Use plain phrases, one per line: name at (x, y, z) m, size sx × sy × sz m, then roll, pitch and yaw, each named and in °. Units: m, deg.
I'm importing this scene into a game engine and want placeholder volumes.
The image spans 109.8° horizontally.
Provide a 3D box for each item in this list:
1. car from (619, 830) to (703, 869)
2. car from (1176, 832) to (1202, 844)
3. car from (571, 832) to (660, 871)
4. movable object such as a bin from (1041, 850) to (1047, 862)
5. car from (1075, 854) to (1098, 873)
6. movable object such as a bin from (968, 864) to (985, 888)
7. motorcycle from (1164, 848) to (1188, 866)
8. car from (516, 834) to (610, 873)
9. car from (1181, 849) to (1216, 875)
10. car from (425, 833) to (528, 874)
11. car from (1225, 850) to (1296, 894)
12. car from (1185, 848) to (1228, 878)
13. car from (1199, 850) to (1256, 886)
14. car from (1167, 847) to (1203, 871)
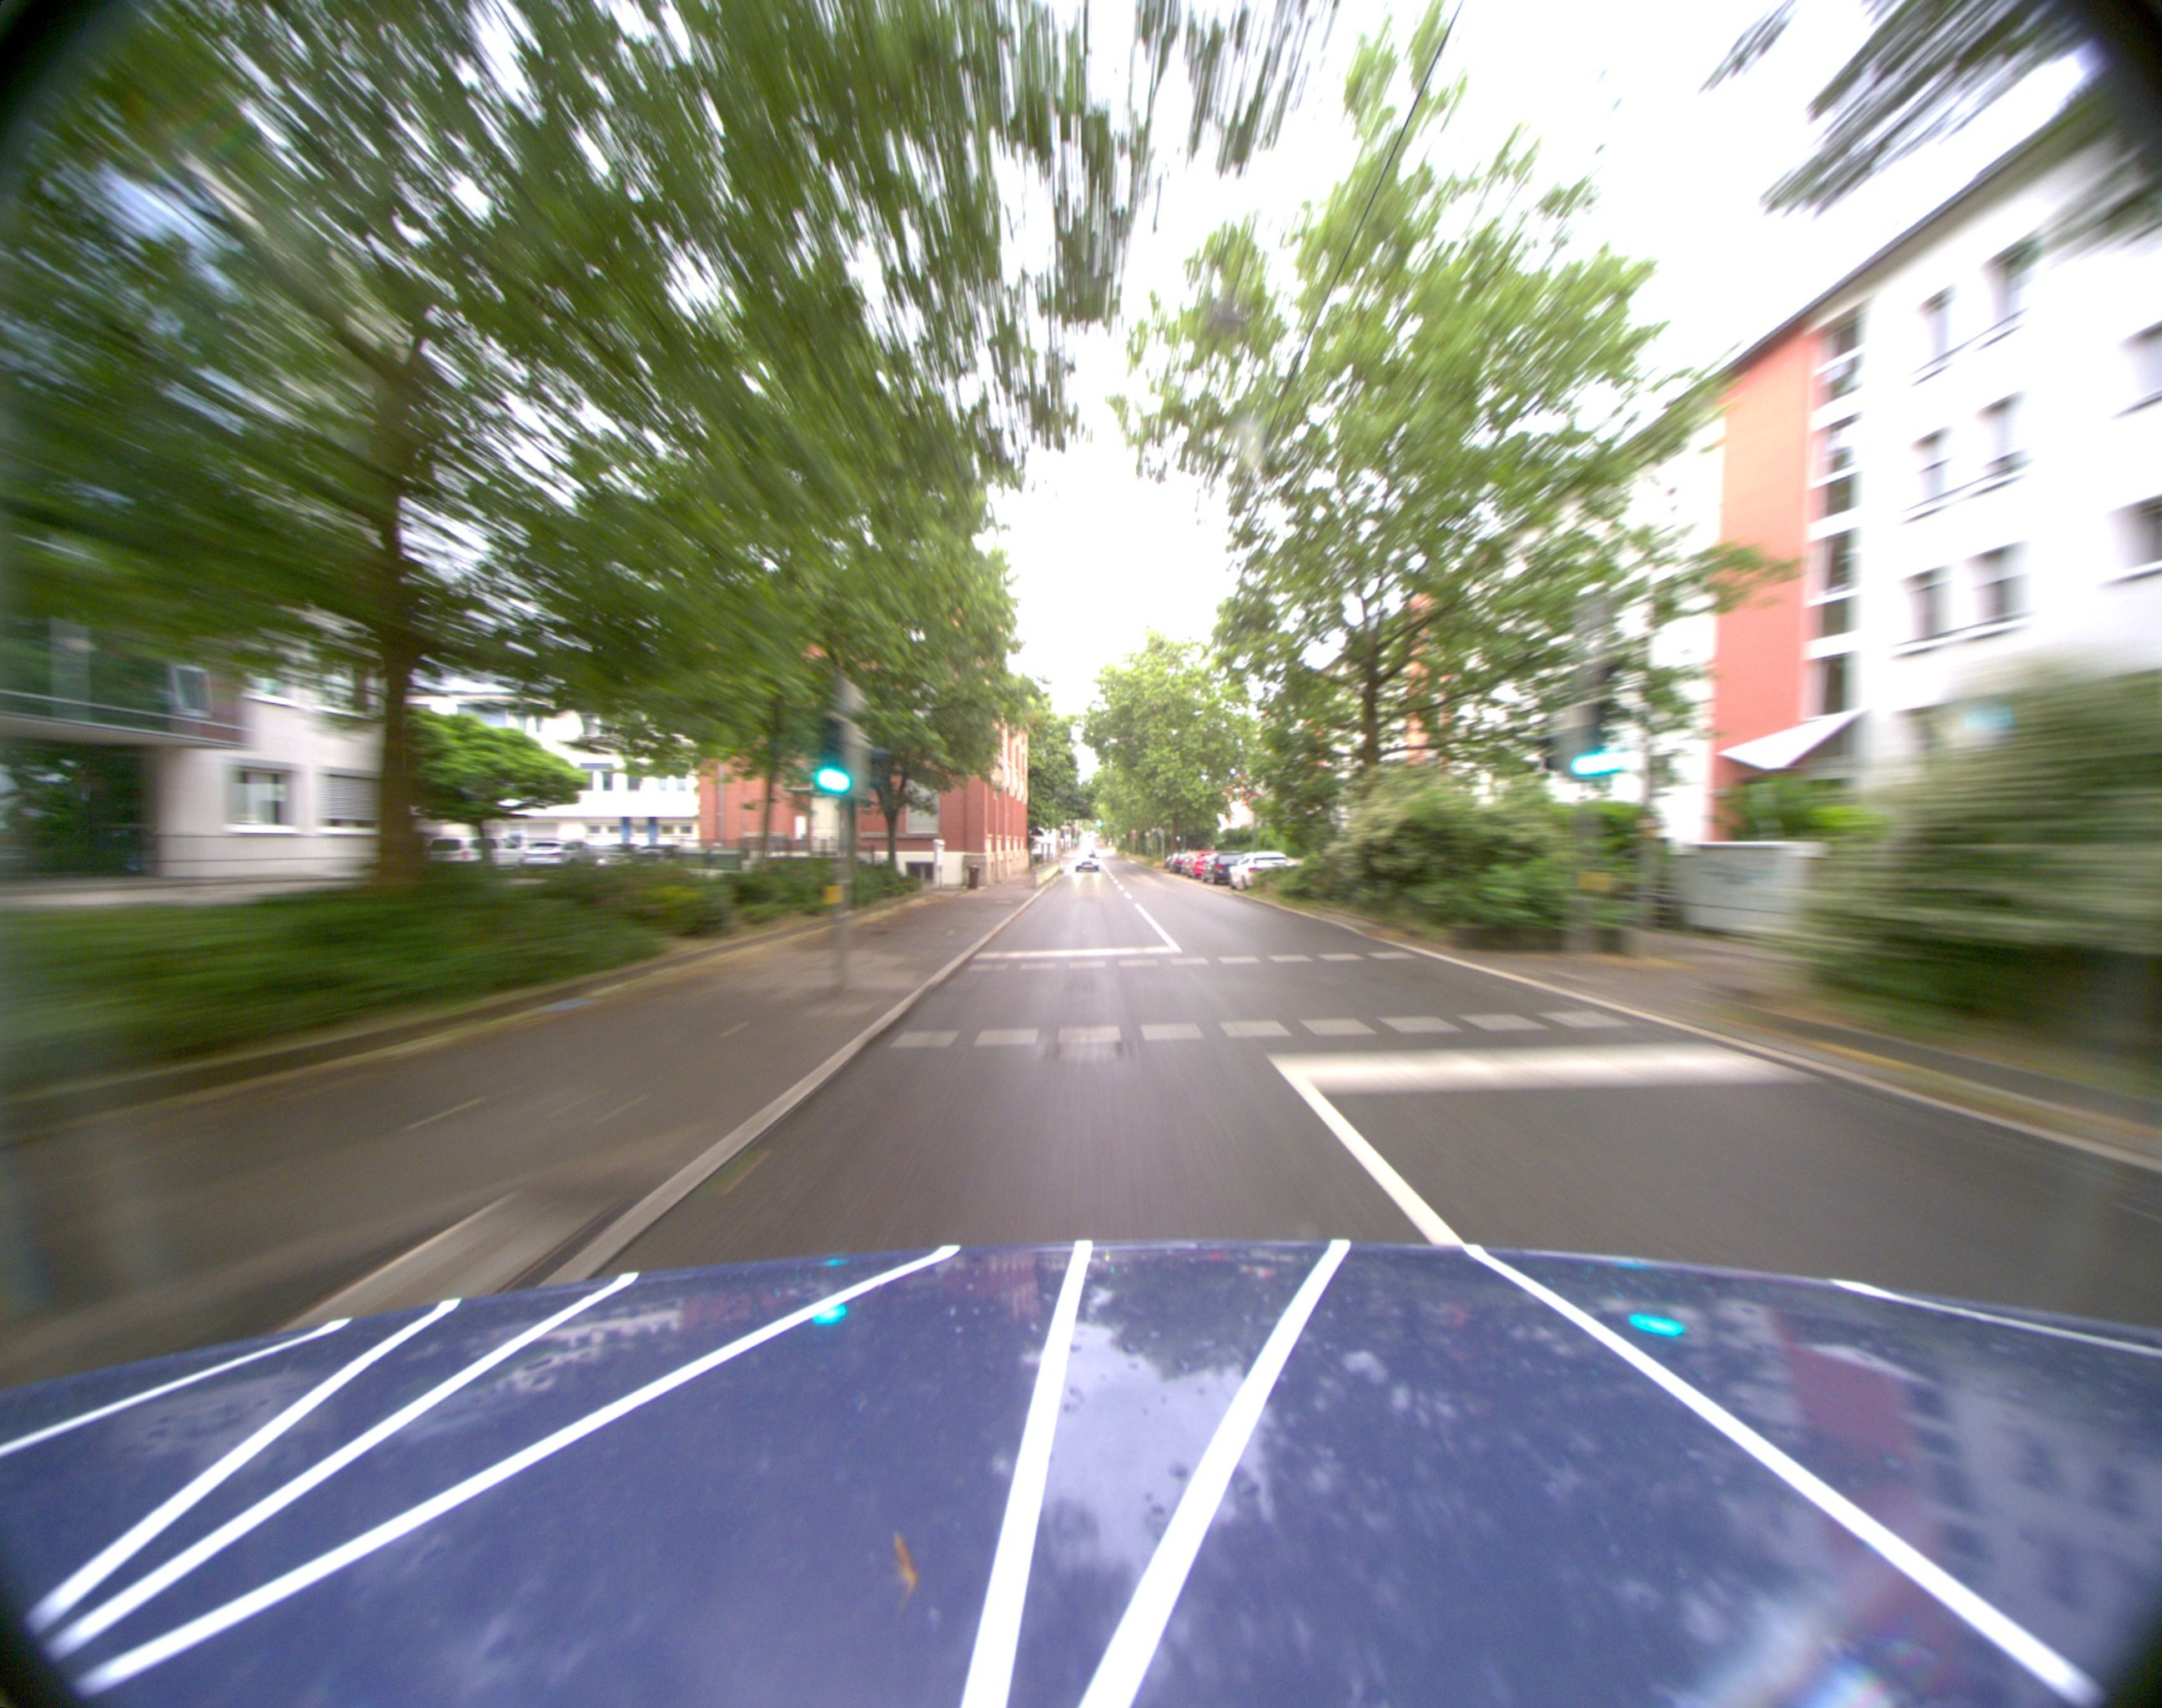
car at (-21.393, -0.279, 38.863) m, size 1.913 × 1.808 × 3.997 m, roll -2°, pitch 2°, yaw 1°
car at (17.200, -2.592, 120.963) m, size 3.801 × 1.679 × 1.737 m, roll -2°, pitch 2°, yaw -2°
car at (-23.680, -0.187, 38.815) m, size 1.913 × 1.808 × 3.997 m, roll -2°, pitch 2°, yaw 1°
movable object such as a bin at (-3.412, 0.205, 70.088) m, size 0.506 × 1.109 × 0.618 m, roll 0°, pitch 2°, yaw 1°
car at (0.391, 0.715, 58.820) m, size 1.692 × 1.334 × 3.998 m, roll 0°, pitch 1°, yaw -2°
movable object such as a bin at (-4.182, 0.873, 30.474) m, size 0.592 × 0.927 × 0.572 m, roll 1°, pitch 1°, yaw 0°
motorcycle at (7.148, 0.237, 56.995) m, size 1.717 × 1.332 × 0.722 m, roll 0°, pitch 1°, yaw 1°
car at (-26.387, -0.081, 38.867) m, size 1.913 × 1.808 × 3.997 m, roll -2°, pitch 2°, yaw 1°
car at (7.178, 0.469, 46.694) m, size 1.559 × 1.459 × 3.396 m, roll -1°, pitch 1°, yaw -1°
car at (-31.070, -0.099, 39.231) m, size 1.913 × 1.938 × 3.997 m, roll -2°, pitch 2°, yaw 1°
car at (6.614, 0.620, 28.426) m, size 1.721 × 1.459 × 4.309 m, roll -1°, pitch 1°, yaw 2°
car at (6.791, 0.454, 41.440) m, size 1.721 × 1.459 × 3.755 m, roll -1°, pitch 1°, yaw -1°
car at (6.612, 0.587, 34.700) m, size 1.721 × 1.459 × 4.232 m, roll -1°, pitch 1°, yaw -1°
car at (7.054, 0.288, 51.964) m, size 1.721 × 1.501 × 4.803 m, roll -1°, pitch 1°, yaw -1°
